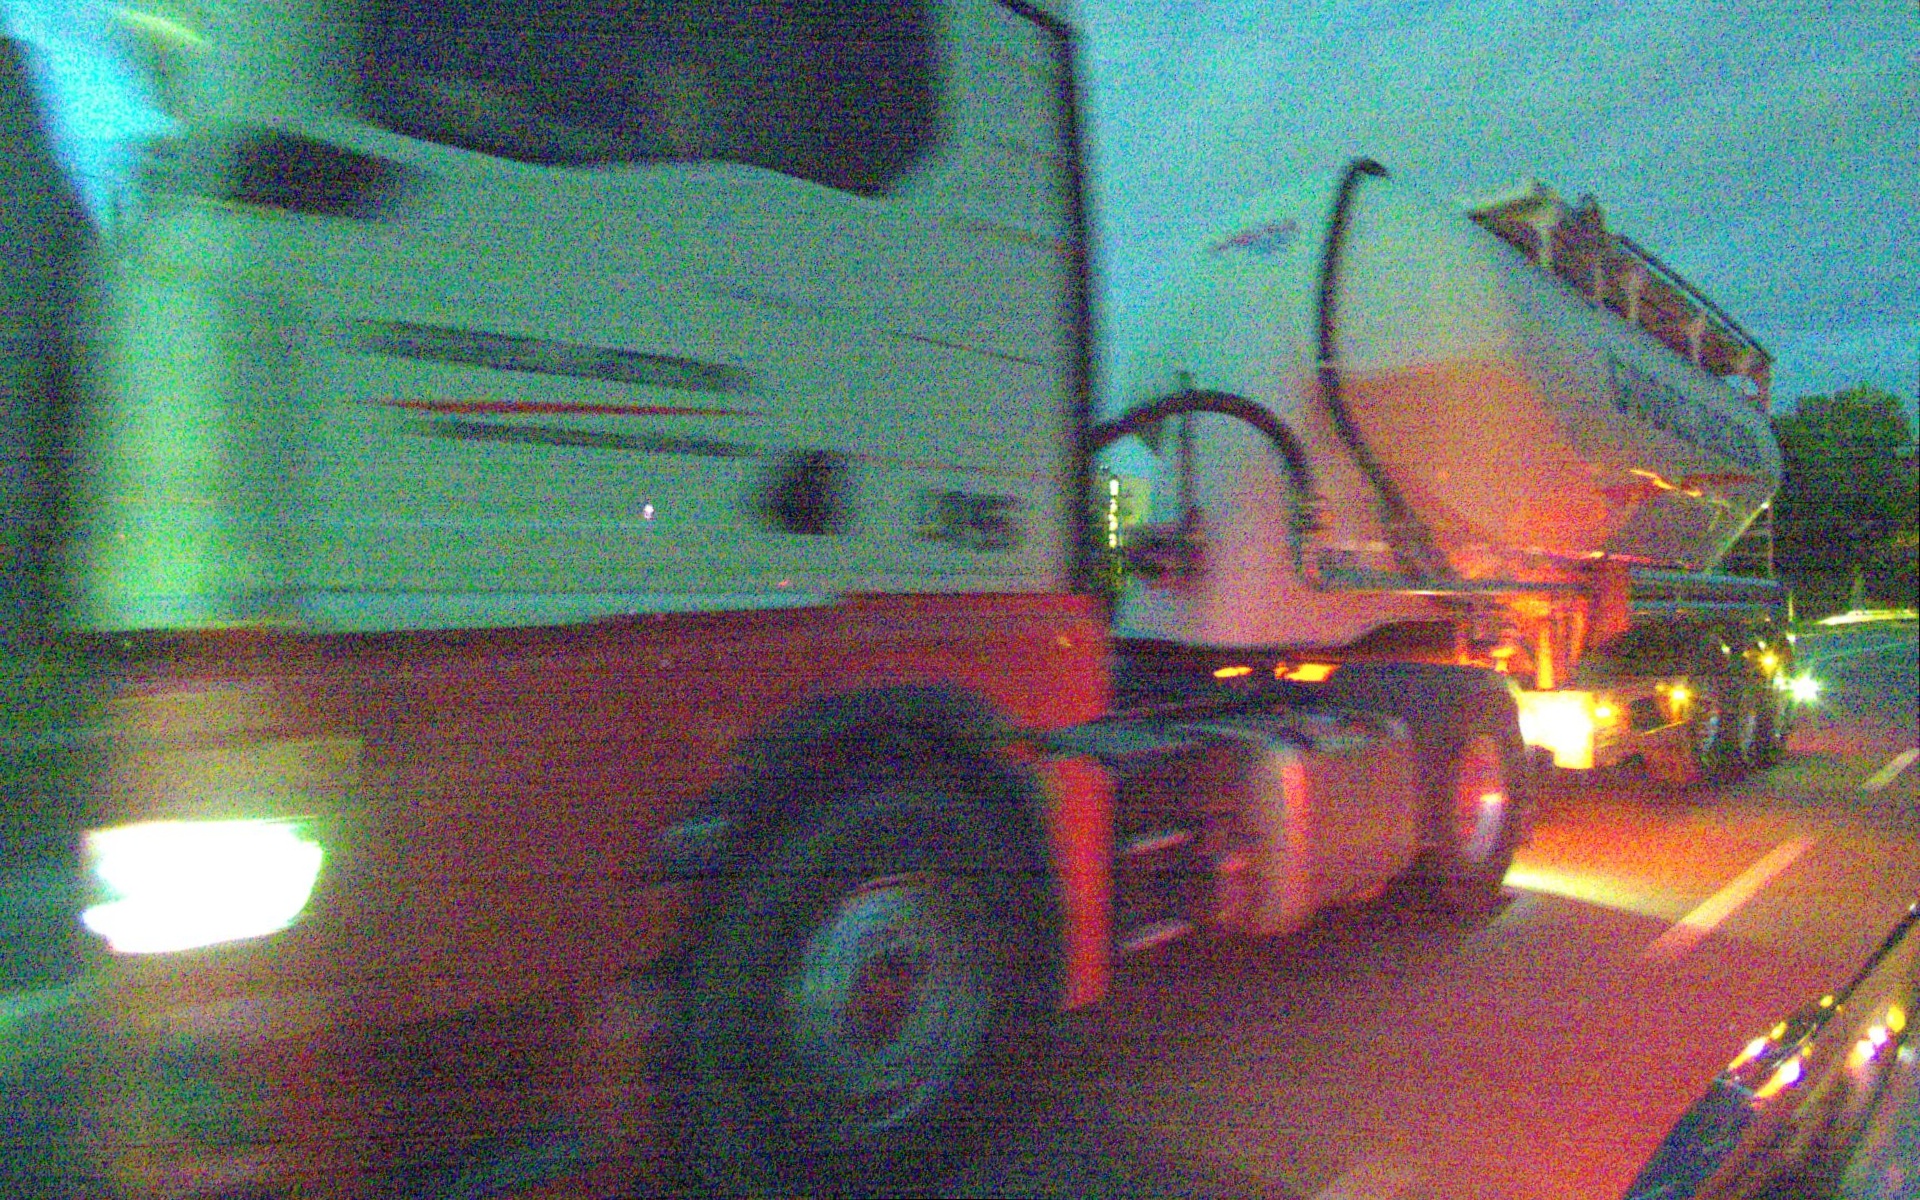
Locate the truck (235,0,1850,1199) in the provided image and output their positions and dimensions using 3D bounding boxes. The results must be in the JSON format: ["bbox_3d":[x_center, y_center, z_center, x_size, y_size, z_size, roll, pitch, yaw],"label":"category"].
[{"bbox_3d":[3.140,-0.701,6.869,12.911,4.158,2.692,0,0,-41],"label":"truck"}]
